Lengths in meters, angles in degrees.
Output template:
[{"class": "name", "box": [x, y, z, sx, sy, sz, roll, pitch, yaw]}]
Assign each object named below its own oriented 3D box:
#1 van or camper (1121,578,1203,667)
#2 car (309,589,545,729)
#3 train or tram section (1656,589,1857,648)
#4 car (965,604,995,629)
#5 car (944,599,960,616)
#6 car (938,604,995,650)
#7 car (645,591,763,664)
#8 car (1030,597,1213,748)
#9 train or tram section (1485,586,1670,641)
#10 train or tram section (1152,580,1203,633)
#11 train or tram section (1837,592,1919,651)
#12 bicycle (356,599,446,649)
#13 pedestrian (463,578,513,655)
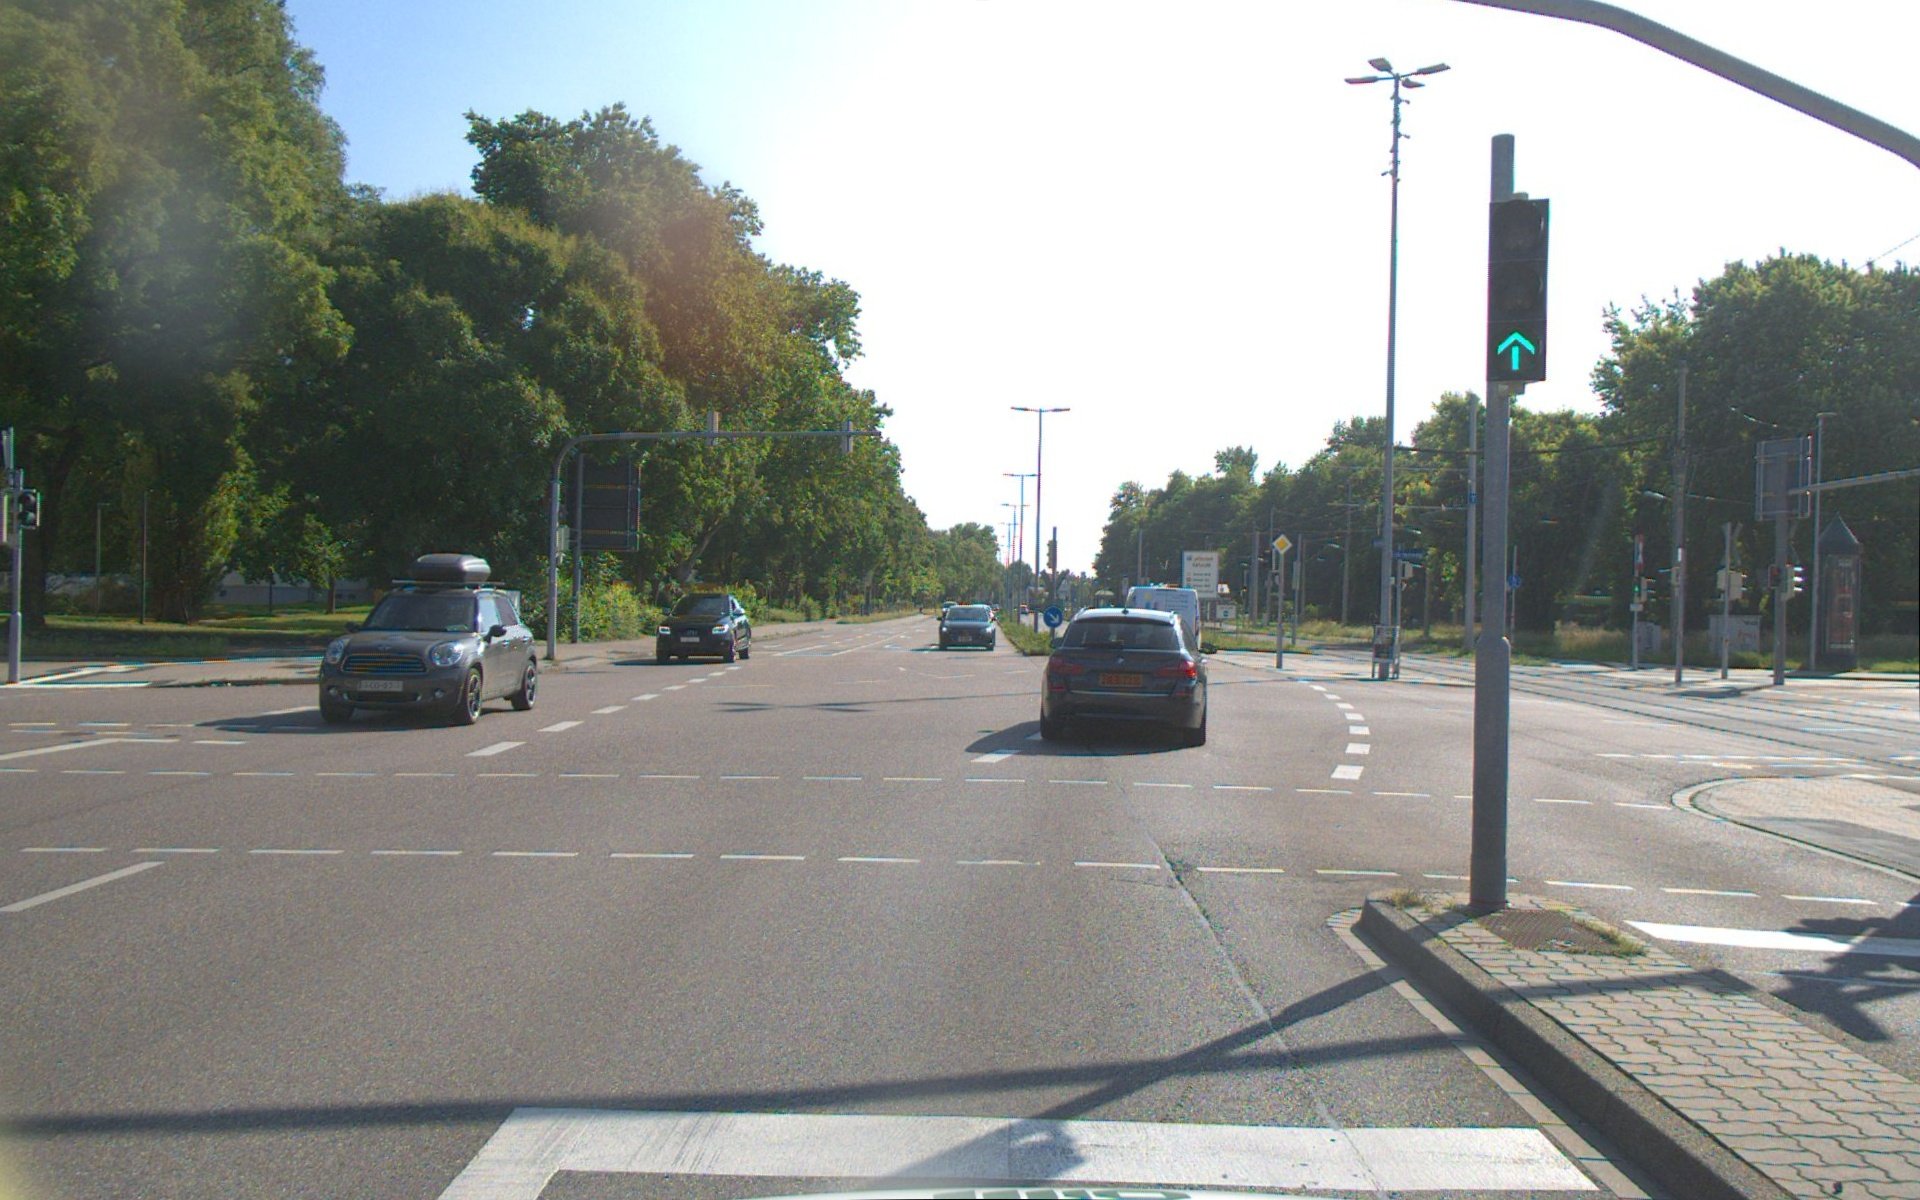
[{"class": "van or camper", "box": [5.233, 0.563, 43.237, 1.951, 2.133, 4.601, 1, 0, 6]}, {"class": "car", "box": [-6.462, 0.659, 20.510, 1.753, 1.547, 3.998, 1, 0, -2]}, {"class": "train or tram section", "box": [54.326, 1.212, 113.102, 11.986, 3.642, 3.042, 1, 0, 36]}, {"class": "car", "box": [1.321, 1.058, 108.384, 1.810, 1.503, 4.647, 1, 0, 2]}, {"class": "car", "box": [-0.897, 0.796, 183.321, 1.752, 1.803, 4.569, 1, 0, 0]}, {"class": "car", "box": [0.257, 0.855, 54.224, 1.791, 1.456, 4.732, 0, 0, 1]}, {"class": "car", "box": [-6.251, 0.643, 40.849, 1.947, 1.688, 4.386, 1, 0, 4]}, {"class": "car", "box": [1.874, 0.763, 19.315, 1.863, 1.532, 4.067, 1, 0, 5]}, {"class": "train or tram section", "box": [44.603, 0.936, 119.669, 12.172, 3.642, 3.047, 1, 0, 31]}, {"class": "train or tram section", "box": [16.302, 0.550, 124.660, 2.738, 3.681, 12.960, 2, -1, 3]}, {"class": "train or tram section", "box": [61.917, 1.409, 103.968, 3.016, 3.642, 12.089, 2, 0, -33]}, {"class": "bicycle", "box": [-13.162, 0.561, 38.937, 1.870, 1.138, 0.632, 1, 0, -1]}, {"class": "pedestrian", "box": [-11.122, 0.385, 38.962, 0.798, 1.782, 0.932, 2, 0, 5]}]
